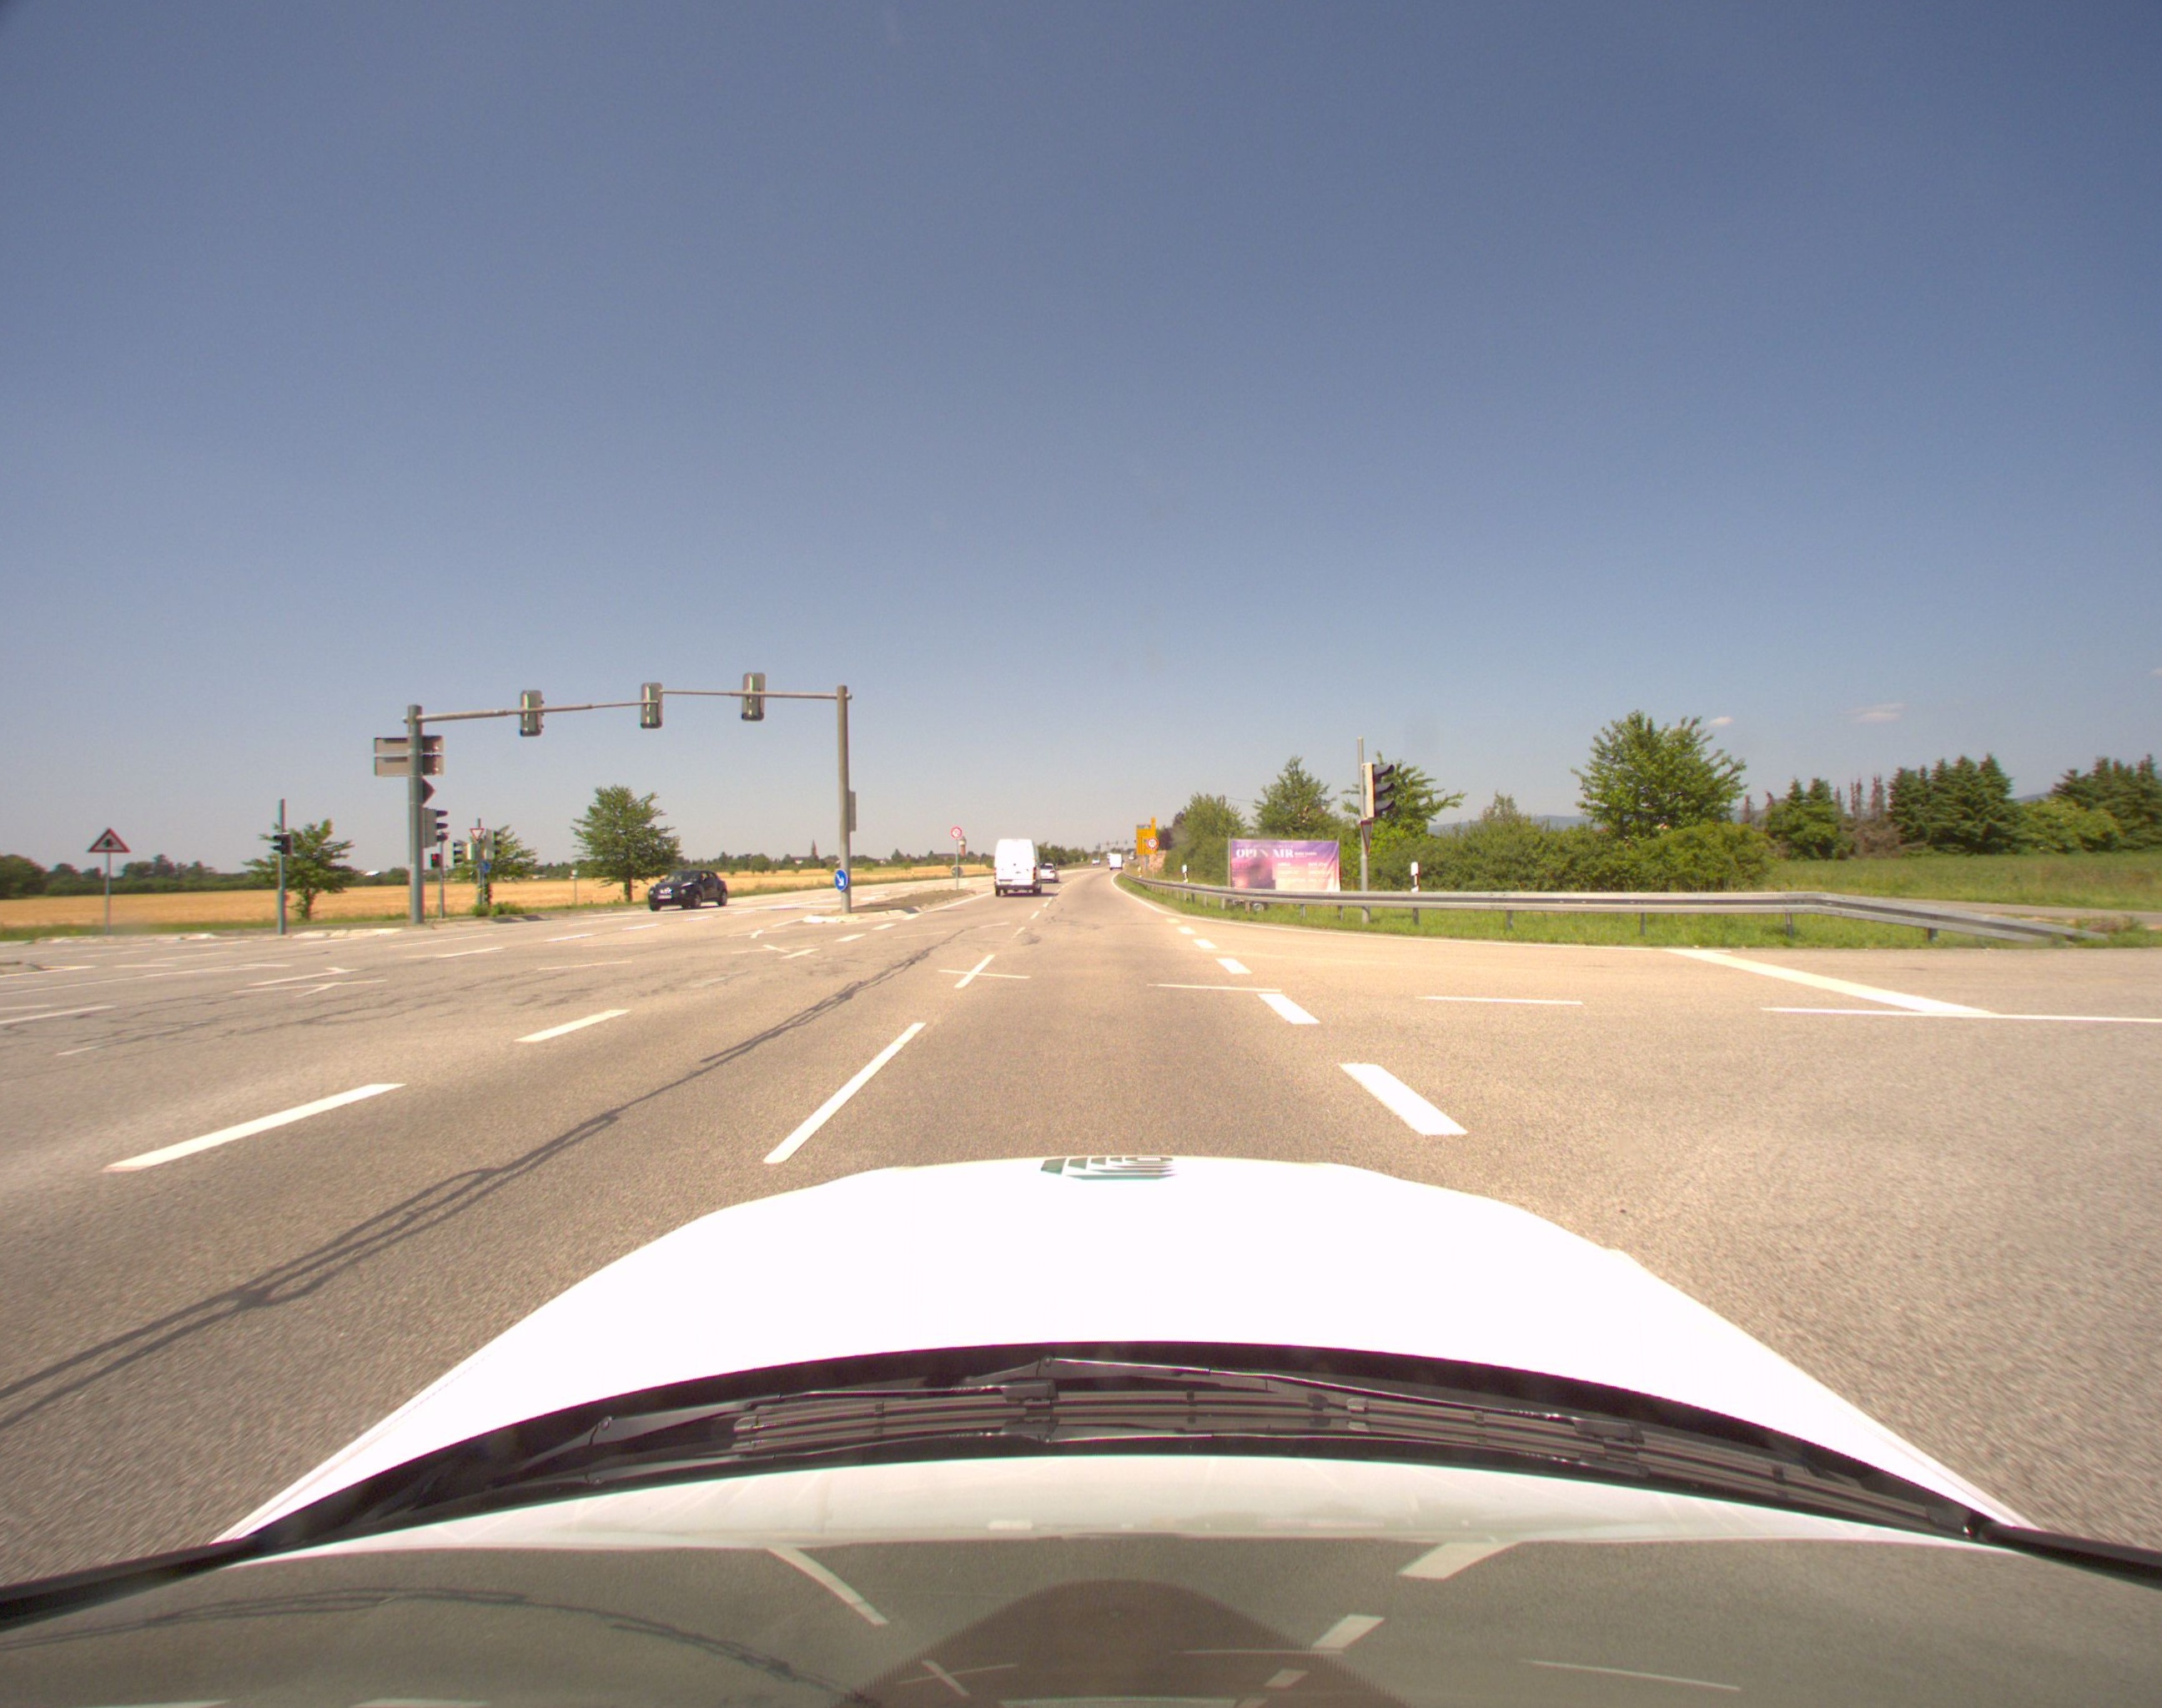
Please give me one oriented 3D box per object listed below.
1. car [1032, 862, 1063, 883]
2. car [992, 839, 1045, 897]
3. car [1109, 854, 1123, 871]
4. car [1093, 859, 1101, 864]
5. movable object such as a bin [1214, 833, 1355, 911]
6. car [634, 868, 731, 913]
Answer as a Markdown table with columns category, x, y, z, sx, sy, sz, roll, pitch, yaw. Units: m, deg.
| category | x | y | z | sx | sy | sz | roll | pitch | yaw |
| --- | --- | --- | --- | --- | --- | --- | --- | --- | --- |
| car | -2.547 | 1.415 | 62.330 | 1.790 | 1.508 | 4.202 | -1 | 0 | 5 |
| car | -2.952 | 0.690 | 39.621 | 2.032 | 2.620 | 5.740 | -1 | -1 | 1 |
| car | 5.620 | 1.383 | 129.657 | 1.984 | 2.695 | 4.976 | 0 | -2 | 5 |
| car | 4.381 | 2.071 | 222.967 | 1.740 | 1.442 | 4.087 | -2 | -1 | 5 |
| movable object such as a bin | 6.273 | 0.564 | 25.307 | 4.084 | 2.331 | 1.276 | 0 | -1 | -3 |
| car | -15.695 | 1.407 | 32.314 | 1.825 | 1.600 | 4.301 | -2 | -1 | -2 |
